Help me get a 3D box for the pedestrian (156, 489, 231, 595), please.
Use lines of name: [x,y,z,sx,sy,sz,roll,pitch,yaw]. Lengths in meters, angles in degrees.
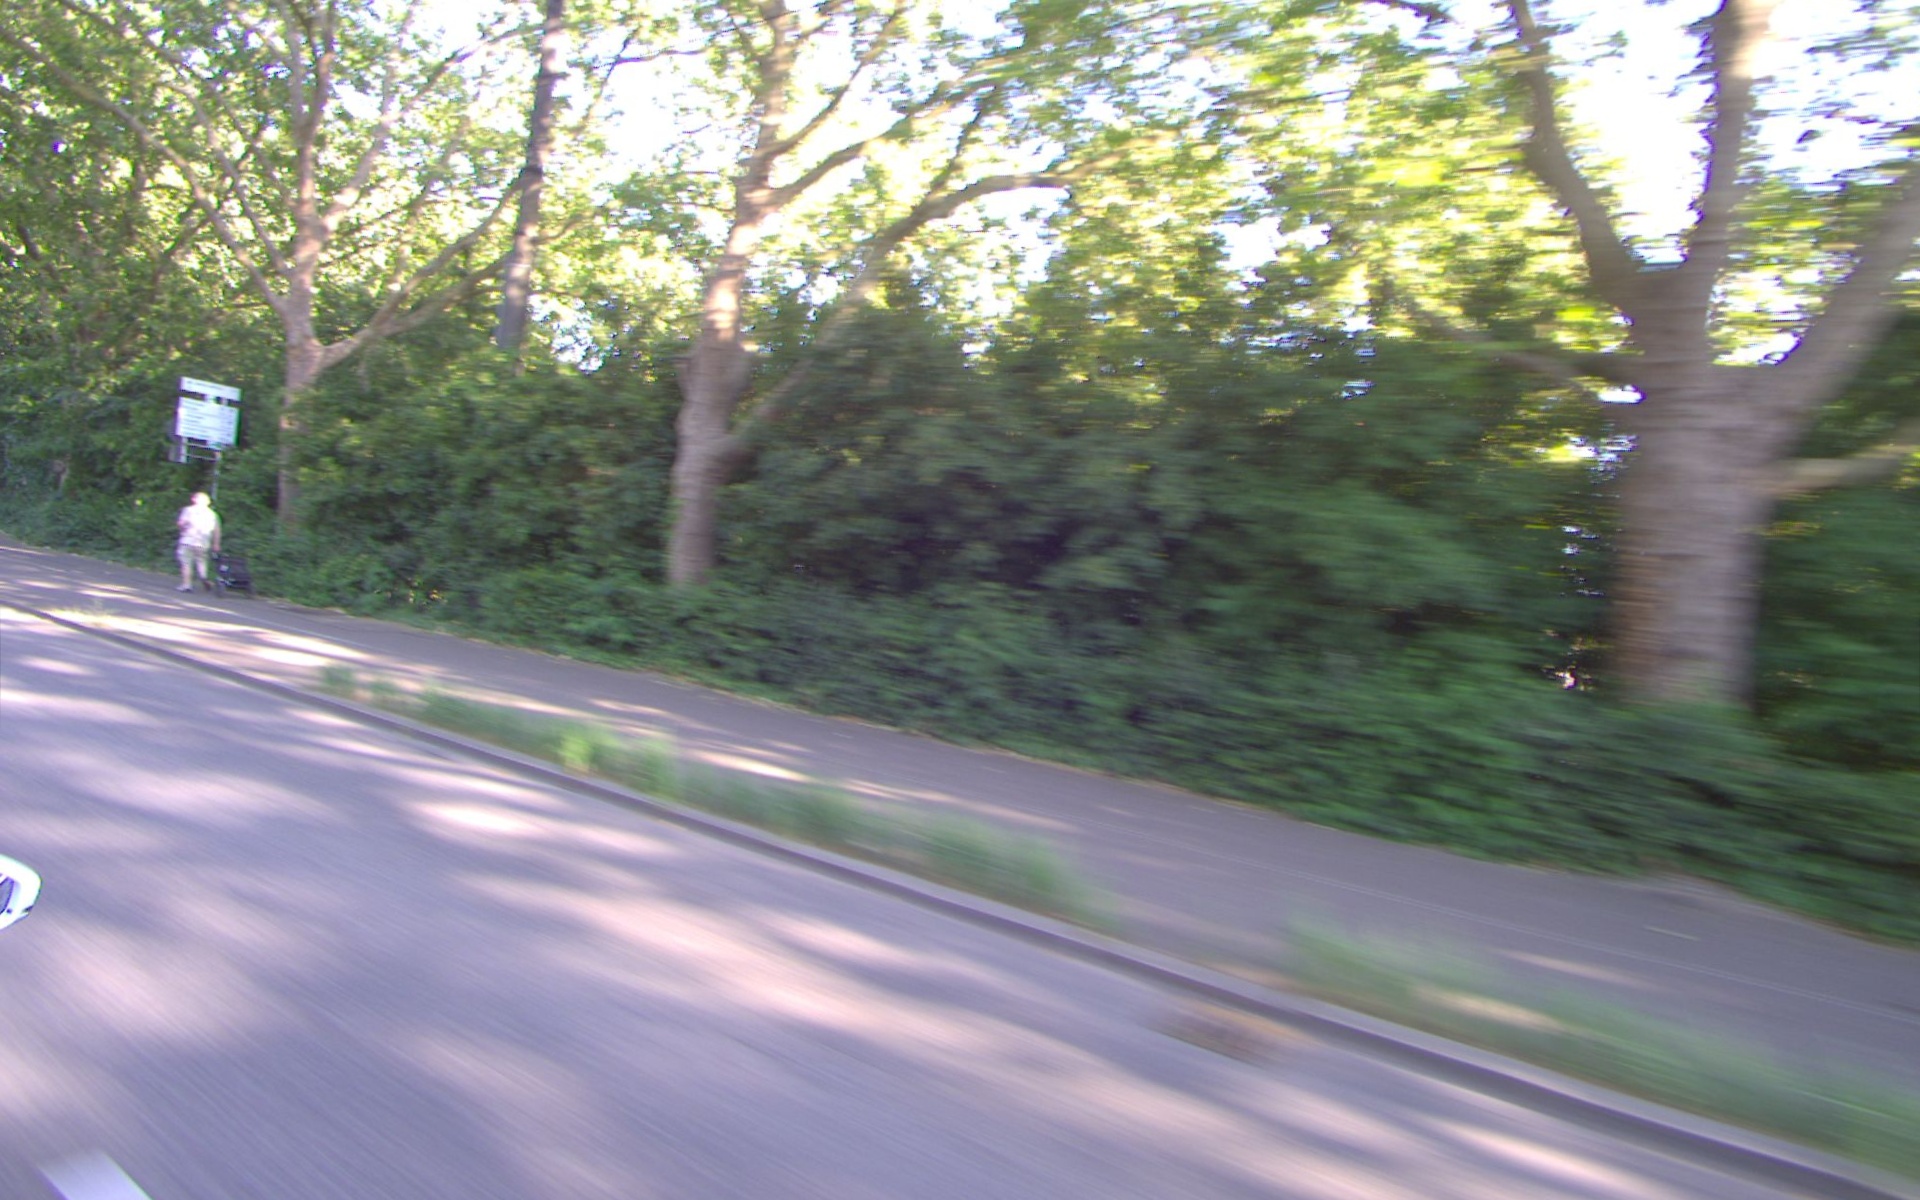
pedestrian: [-12.871,-0.972,16.897,0.912,1.658,0.648,8,3,32]
